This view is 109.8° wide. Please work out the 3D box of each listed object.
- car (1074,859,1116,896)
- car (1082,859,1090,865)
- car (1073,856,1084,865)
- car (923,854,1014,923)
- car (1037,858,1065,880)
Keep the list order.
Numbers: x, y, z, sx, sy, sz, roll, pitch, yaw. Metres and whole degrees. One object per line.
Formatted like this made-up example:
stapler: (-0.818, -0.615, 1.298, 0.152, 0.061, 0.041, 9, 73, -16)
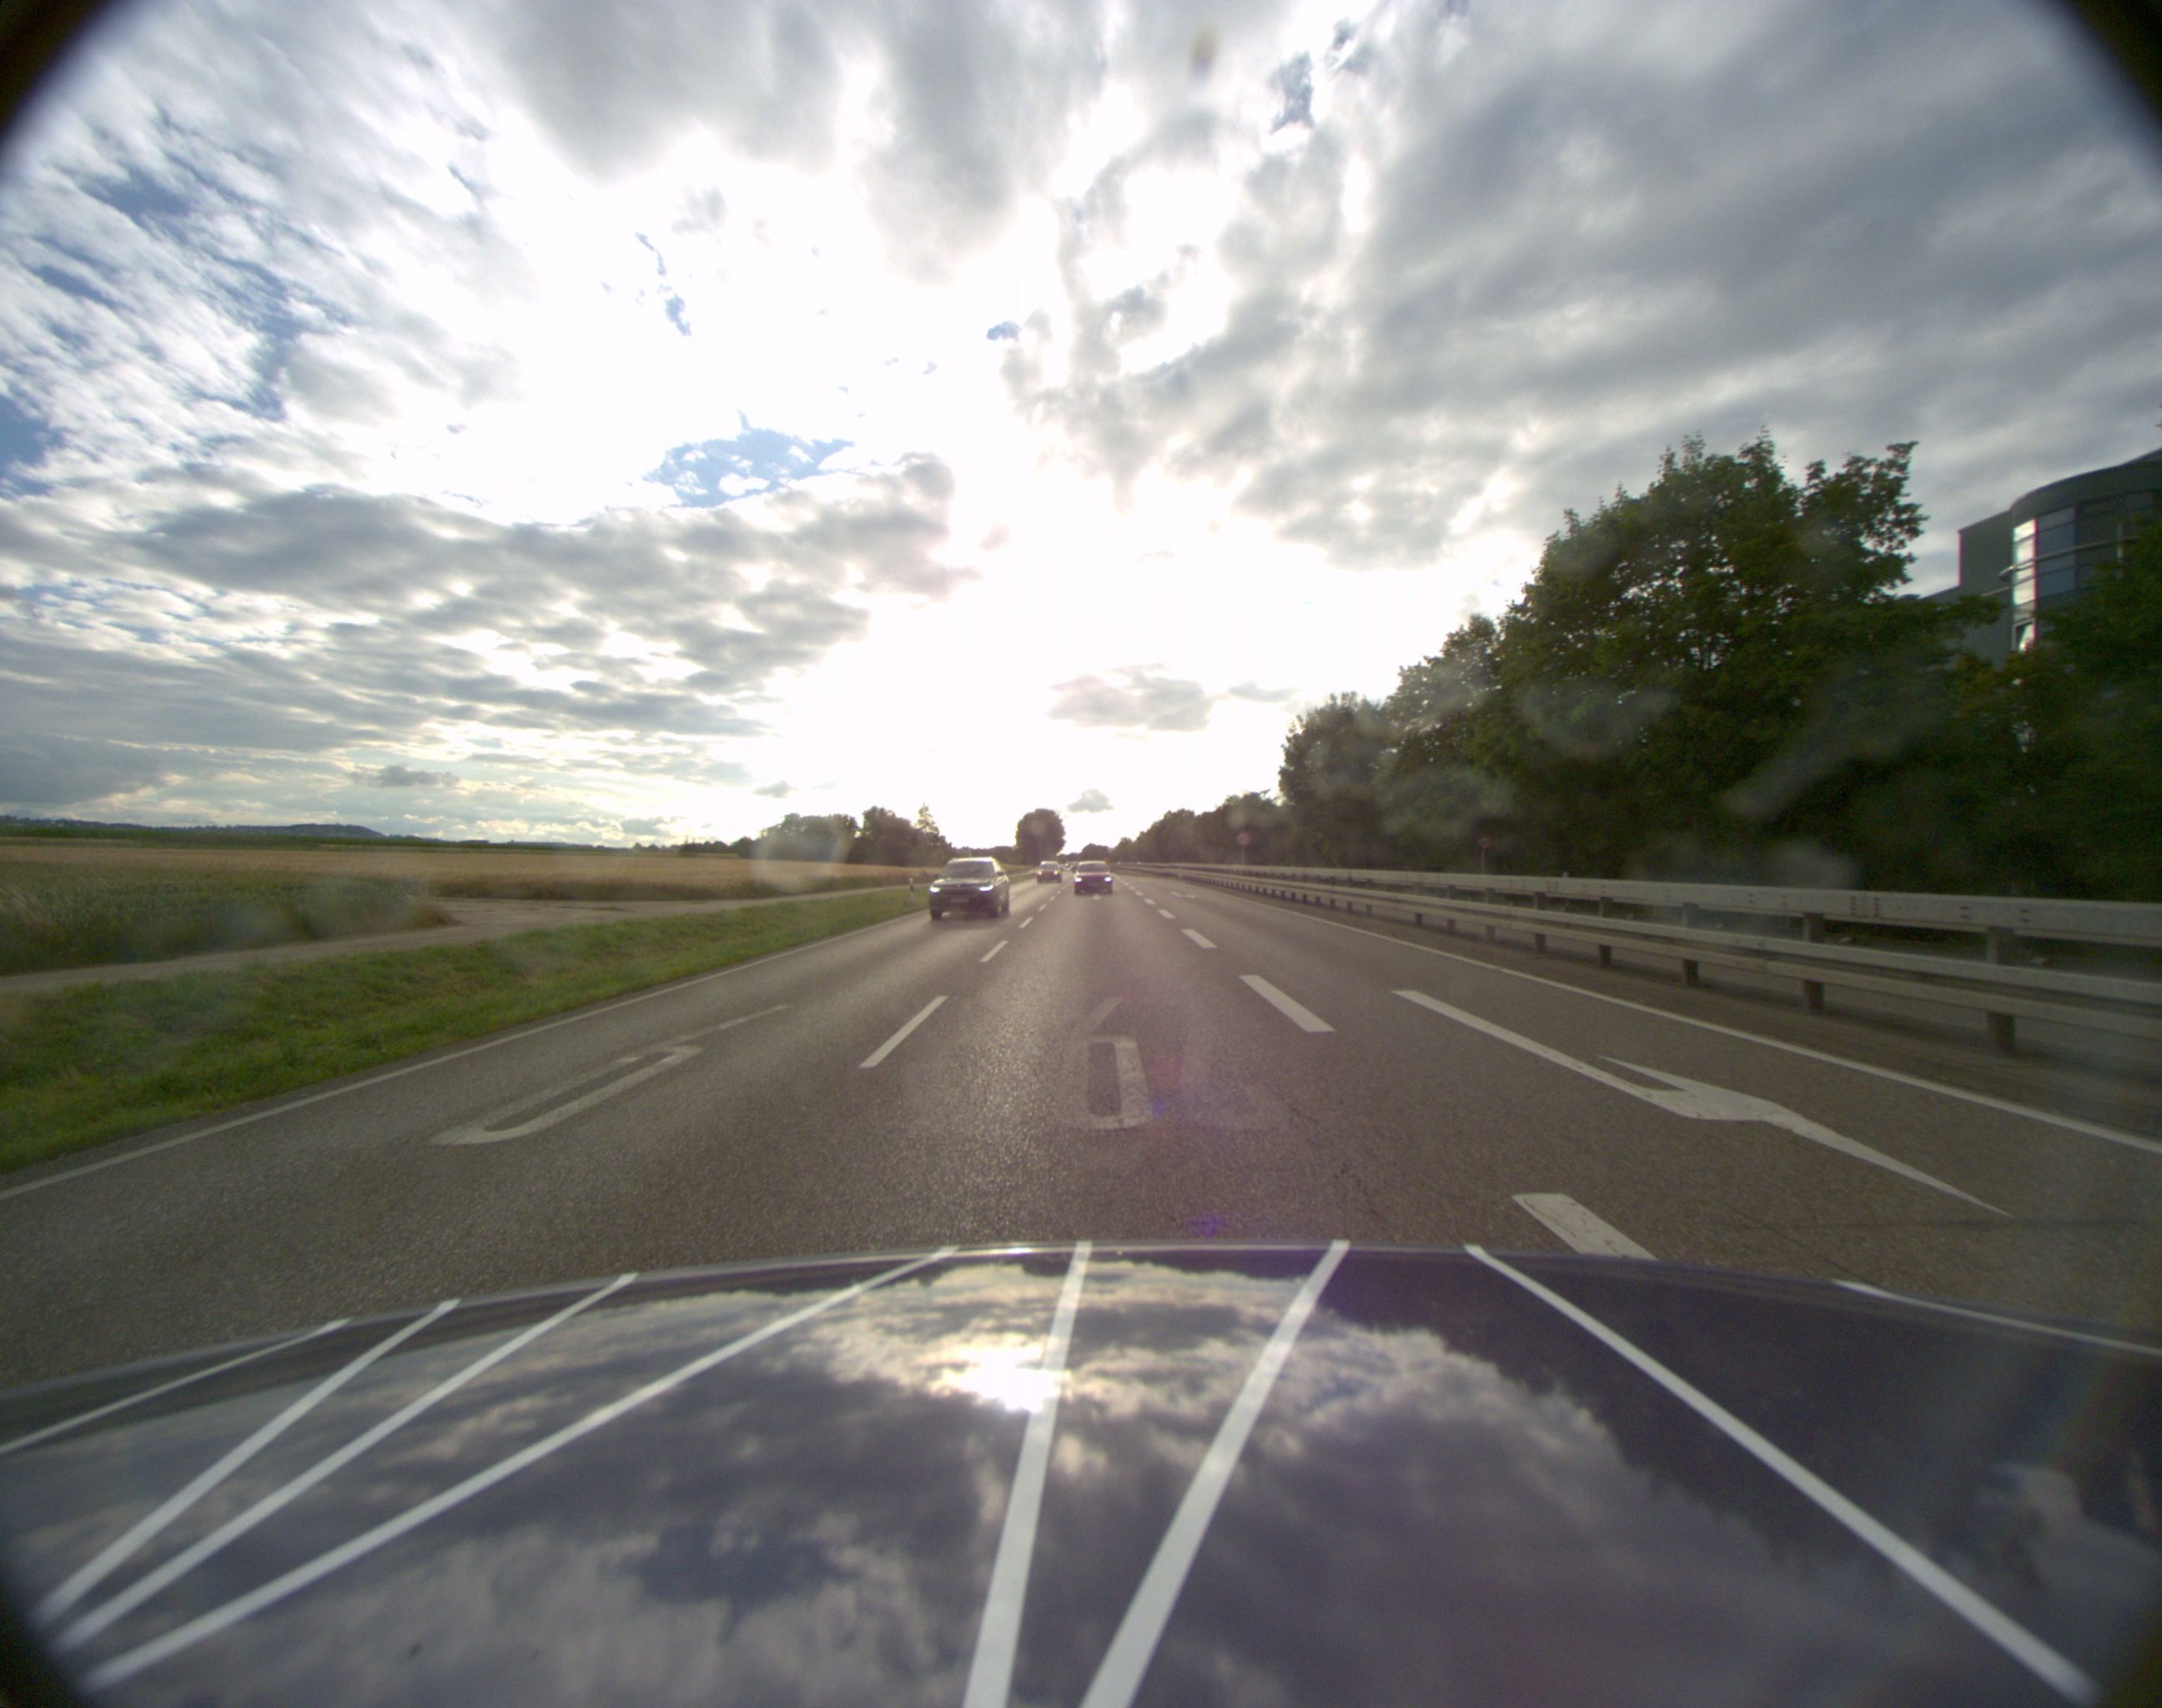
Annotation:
car: (0.642, 0.990, 34.258, 1.712, 1.448, 4.061, -2, 1, 1)
car: (1.298, 2.297, 218.942, 1.713, 1.448, 4.058, -2, 1, -8)
car: (-0.437, 1.083, 133.832, 1.799, 1.448, 4.032, -2, 0, 1)
car: (-3.160, 0.895, 22.192, 1.841, 1.698, 4.556, -2, 1, 1)
car: (-2.158, 1.074, 55.357, 1.712, 1.448, 3.908, -2, 1, 1)
